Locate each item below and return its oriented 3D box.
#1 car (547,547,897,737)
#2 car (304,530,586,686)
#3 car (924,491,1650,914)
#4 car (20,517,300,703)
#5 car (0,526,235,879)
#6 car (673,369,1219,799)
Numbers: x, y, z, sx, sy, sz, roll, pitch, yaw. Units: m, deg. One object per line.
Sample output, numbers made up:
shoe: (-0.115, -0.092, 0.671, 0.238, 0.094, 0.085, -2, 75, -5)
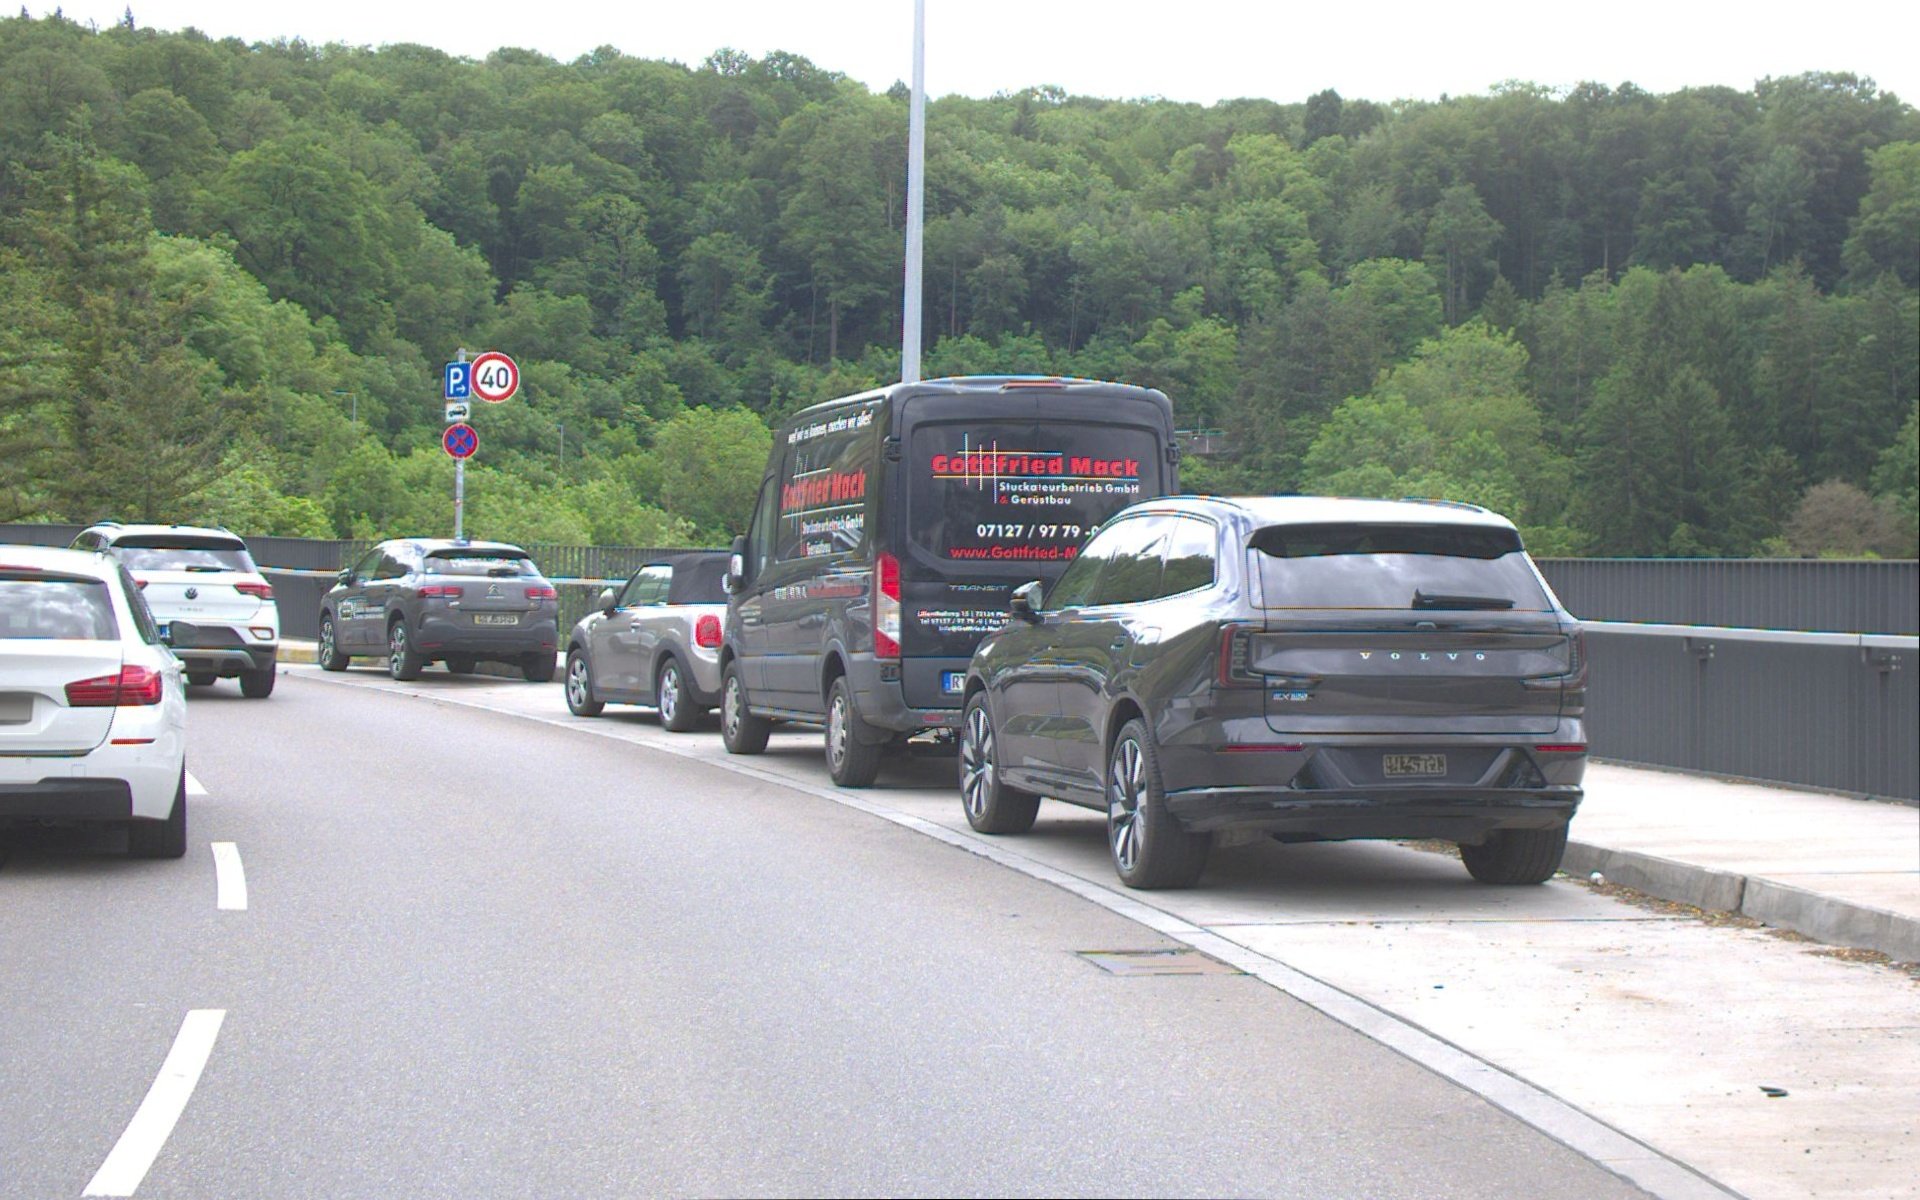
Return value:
car: (-2.055, 0.307, 28.670, 1.714, 1.426, 3.851, 1, 1, -23)
car: (-5.664, 0.057, 37.428, 1.874, 1.537, 4.090, 2, 0, -26)
car: (1.346, 0.395, 16.639, 1.993, 1.712, 5.051, -1, 0, -13)
car: (-7.547, 0.085, 32.163, 1.827, 1.600, 4.001, -1, 0, -24)
car: (-4.667, 0.398, 17.033, 1.827, 1.454, 4.487, 1, 2, -9)
car: (-0.289, -0.173, 23.271, 2.166, 2.513, 5.773, -1, 2, -16)
